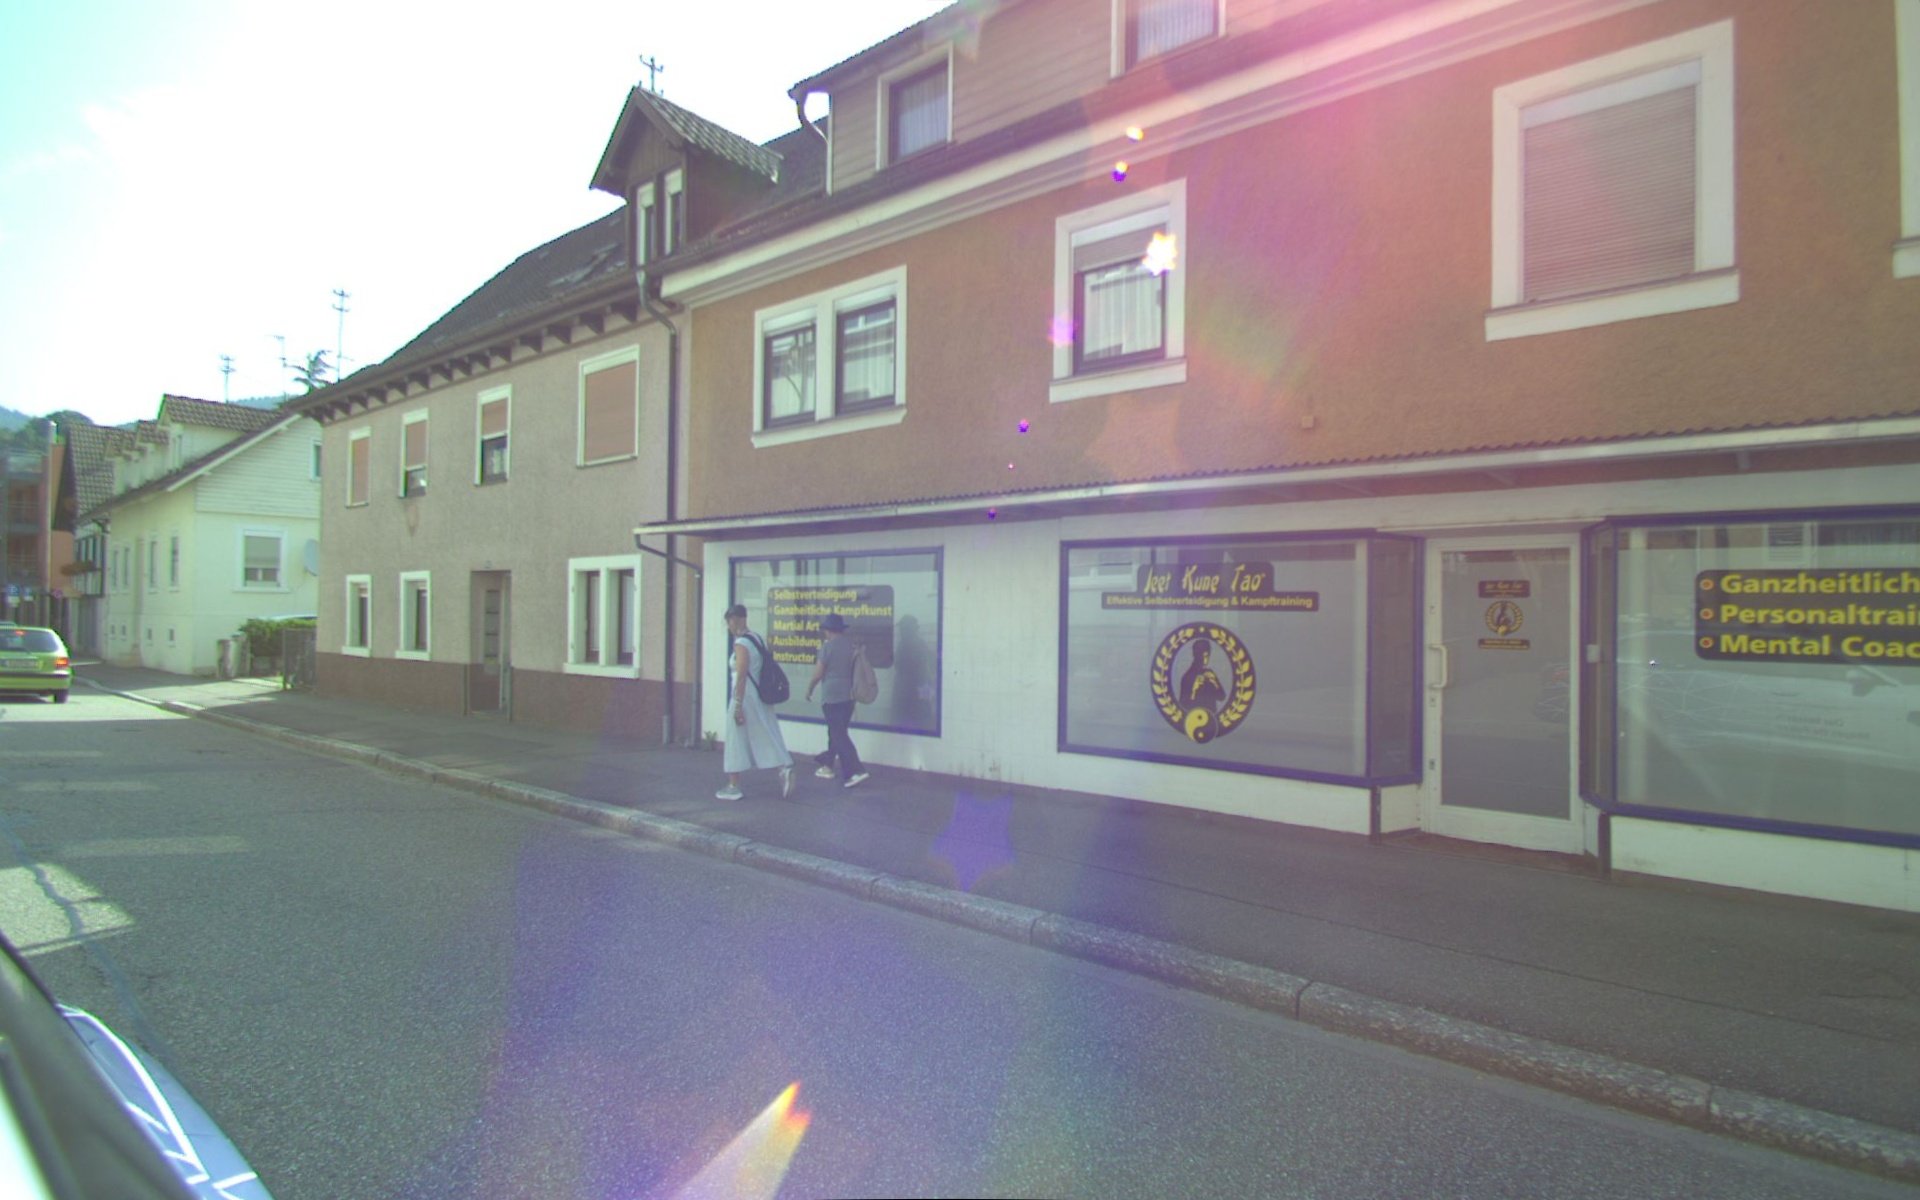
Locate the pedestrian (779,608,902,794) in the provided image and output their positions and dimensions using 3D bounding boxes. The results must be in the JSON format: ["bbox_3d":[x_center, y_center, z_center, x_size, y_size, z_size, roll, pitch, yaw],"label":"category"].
[{"bbox_3d":[-1.086,0.872,9.186,0.824,1.576,0.727,-1,0,42],"label":"pedestrian"}]

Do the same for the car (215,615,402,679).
[{"bbox_3d":[-17.861,1.230,27.866,1.905,1.606,3.948,-1,-1,38],"label":"car"}]

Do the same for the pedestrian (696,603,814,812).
[{"bbox_3d":[-1.710,0.849,8.431,0.777,1.639,0.632,-1,-2,42],"label":"pedestrian"}]

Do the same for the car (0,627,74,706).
[{"bbox_3d":[-19.190,1.285,20.310,3.658,1.475,1.580,-1,-6,41],"label":"car"}]

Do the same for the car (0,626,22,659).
[{"bbox_3d":[-44.015,1.928,46.034,3.567,1.443,1.649,-2,-1,42],"label":"car"}]
